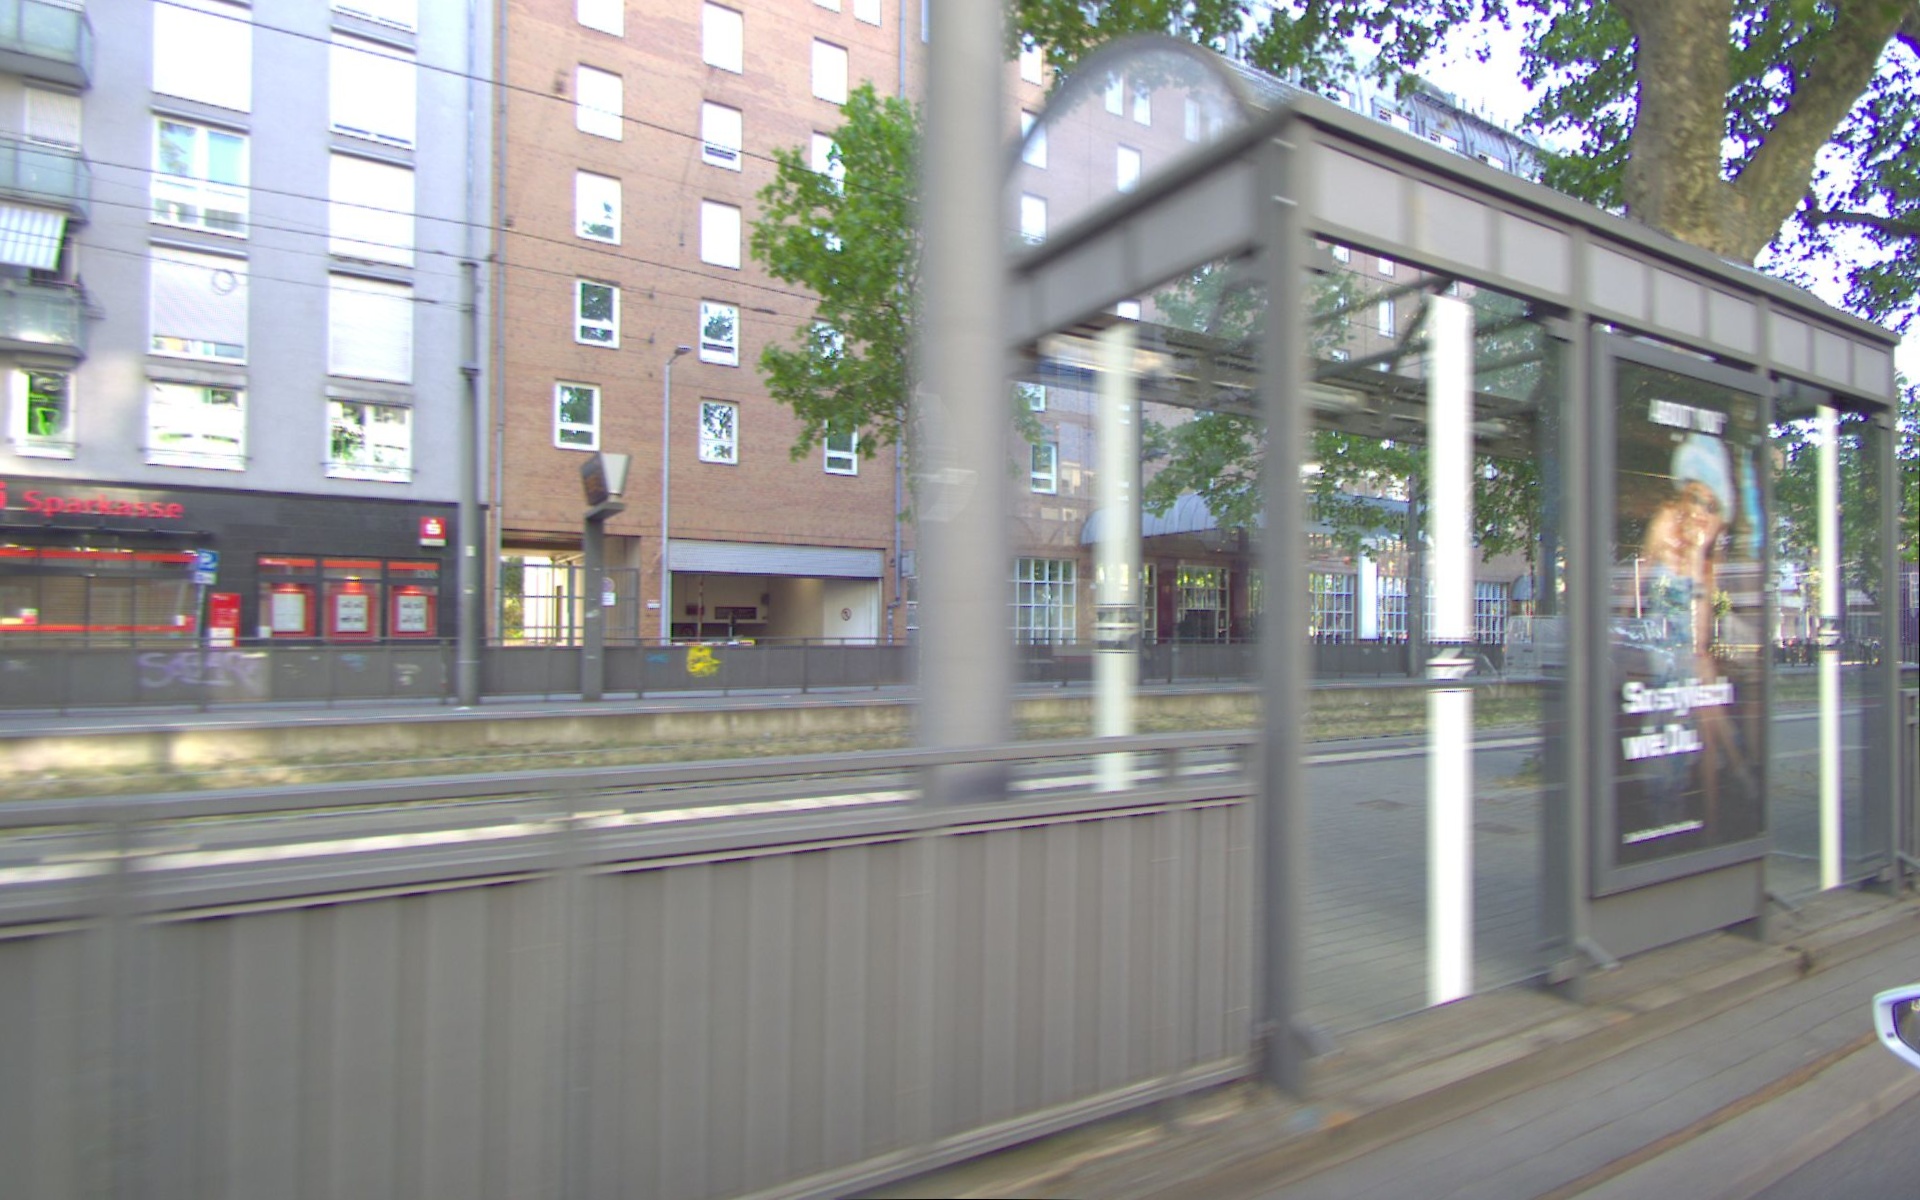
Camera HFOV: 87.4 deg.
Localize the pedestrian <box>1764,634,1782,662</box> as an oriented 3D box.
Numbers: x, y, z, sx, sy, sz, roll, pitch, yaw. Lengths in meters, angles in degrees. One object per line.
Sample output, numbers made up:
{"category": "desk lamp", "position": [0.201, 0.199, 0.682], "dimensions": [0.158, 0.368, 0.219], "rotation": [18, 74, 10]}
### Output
{"category": "pedestrian", "position": [47.899, 2.812, 59.173], "dimensions": [0.718, 1.606, 0.585], "rotation": [1, 1, -34]}
